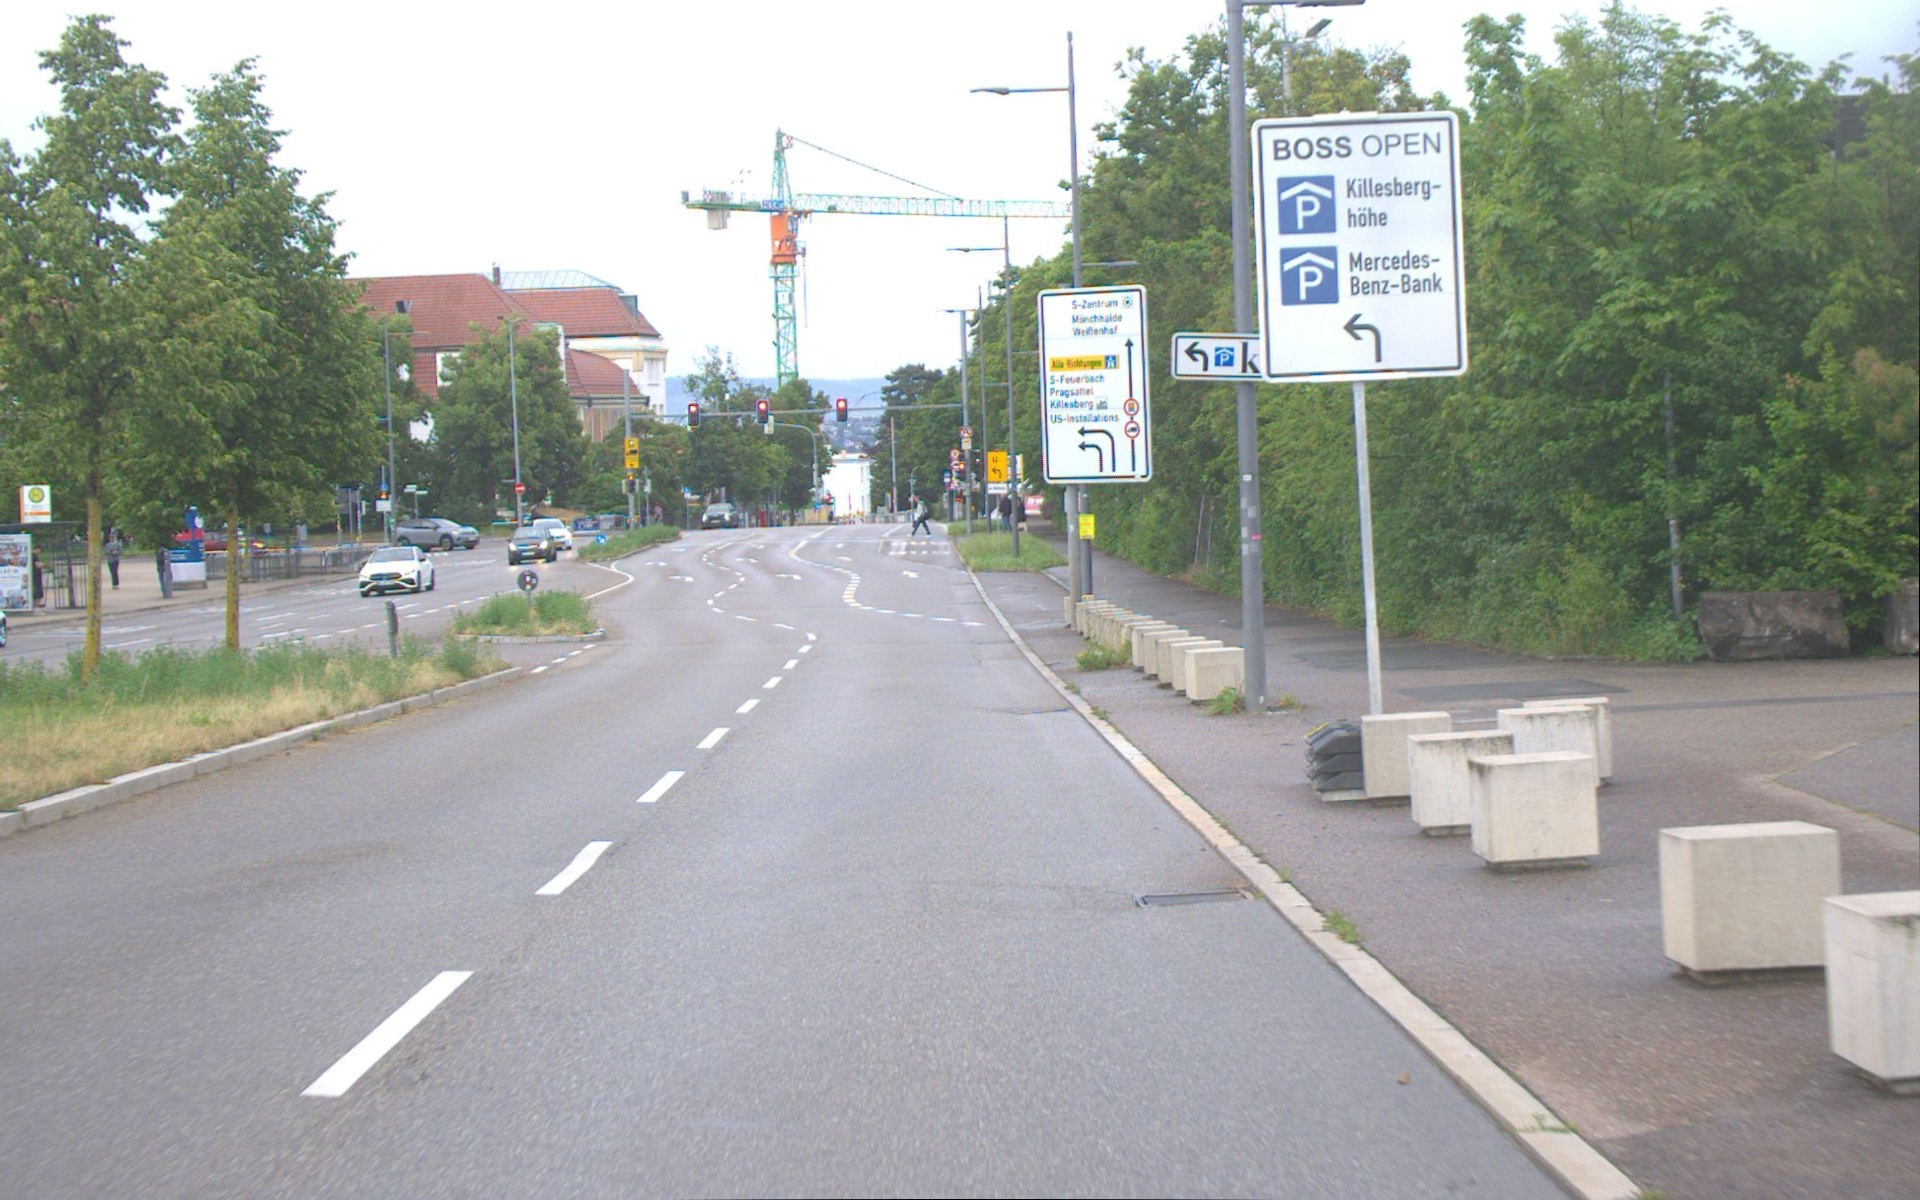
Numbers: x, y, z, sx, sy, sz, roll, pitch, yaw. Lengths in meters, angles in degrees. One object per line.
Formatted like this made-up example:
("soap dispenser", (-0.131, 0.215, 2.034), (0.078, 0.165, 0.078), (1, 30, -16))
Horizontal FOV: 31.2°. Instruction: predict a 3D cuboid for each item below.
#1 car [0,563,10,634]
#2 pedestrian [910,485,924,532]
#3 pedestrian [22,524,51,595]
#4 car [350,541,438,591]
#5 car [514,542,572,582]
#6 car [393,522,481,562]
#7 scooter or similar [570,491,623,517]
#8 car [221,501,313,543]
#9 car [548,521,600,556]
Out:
("car", (-21.237, -0.002, 72.424), (1.613, 1.503, 2.973), (-1, 1, -1))
("pedestrian", (-1.894, -4.030, 151.419), (0.401, 2.006, 0.513), (-5, 2, 5))
("pedestrian", (-24.413, -1.070, 90.873), (0.507, 1.836, 0.756), (-2, 2, -1))
("car", (-17.448, -1.068, 106.230), (1.993, 1.413, 4.513), (-2, 1, -1))
("car", (-16.865, -1.560, 139.019), (1.846, 1.457, 3.868), (-3, 2, -1))
("car", (-25.573, -2.825, 168.187), (3.995, 1.872, 1.996), (0, 1, 36))
("scooter or similar", (-22.310, -5.918, 211.019), (3.087, 1.435, 0.949), (-3, 2, -2))
("car", (-34.508, -3.888, 171.227), (3.991, 1.910, 1.998), (-2, 2, 22))
("car", (-17.717, -2.844, 158.023), (1.873, 1.425, 4.176), (-5, 2, -1))
